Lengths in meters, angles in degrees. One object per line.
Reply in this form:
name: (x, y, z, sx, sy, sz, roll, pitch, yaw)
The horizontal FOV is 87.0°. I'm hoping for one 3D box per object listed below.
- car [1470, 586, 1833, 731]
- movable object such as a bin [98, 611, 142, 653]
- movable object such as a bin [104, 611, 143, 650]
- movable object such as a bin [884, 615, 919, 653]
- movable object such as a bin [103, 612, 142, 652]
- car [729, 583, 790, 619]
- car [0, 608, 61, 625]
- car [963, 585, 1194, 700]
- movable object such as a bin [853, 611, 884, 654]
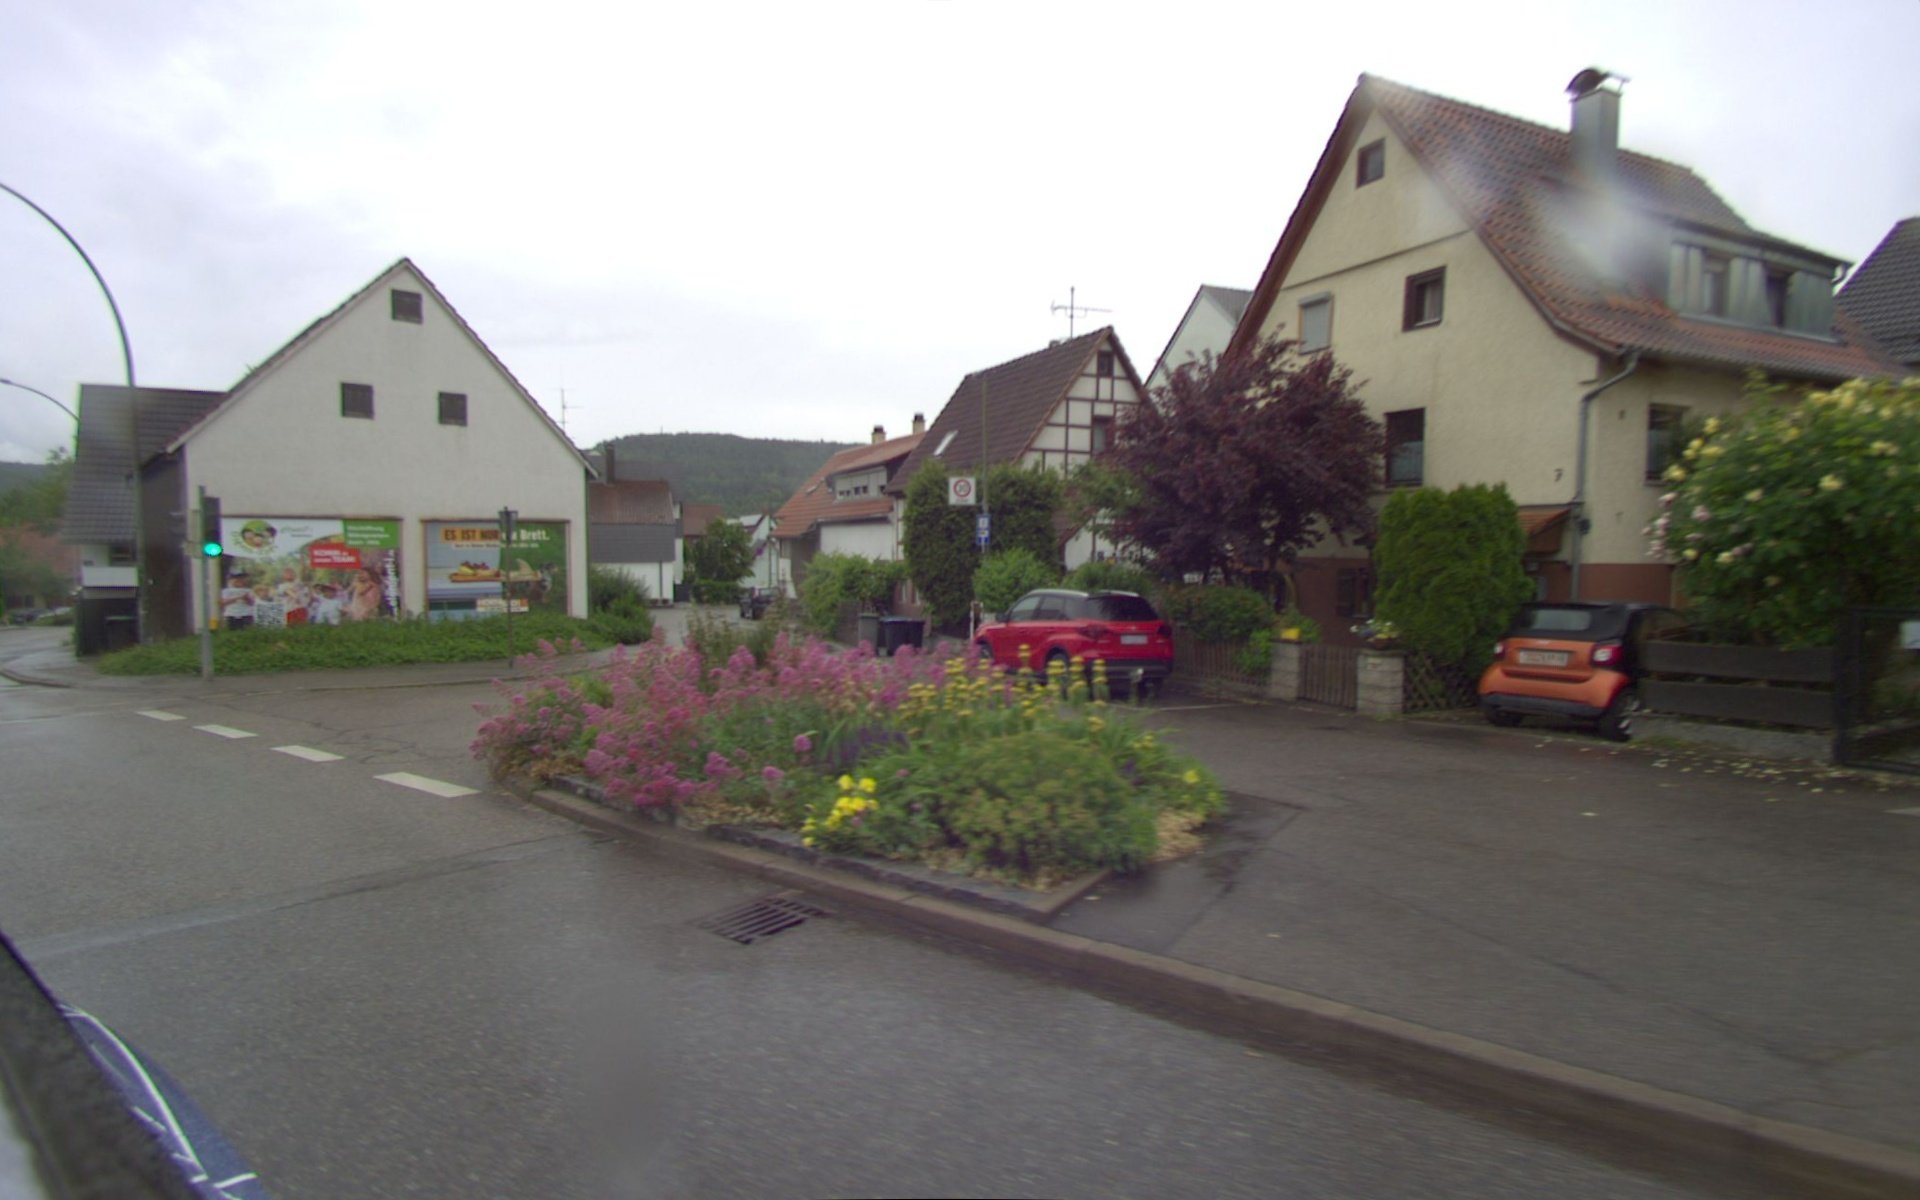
car: (8.212, 0.585, 12.002, 3.931, 1.394, 1.869, -2, 0, -27)
movable object such as a bin: (-23.421, 0.869, 28.229, 0.886, 1.086, 0.652, -4, 3, -41)
movable object such as a bin: (-24.223, 0.875, 29.290, 0.825, 1.066, 0.612, -3, 2, -41)
movable object such as a bin: (-1.482, 0.850, 25.546, 0.692, 0.894, 0.653, -1, 0, -22)
movable object such as a bin: (-23.770, 0.886, 28.724, 0.807, 1.069, 0.597, -3, 2, -41)
car: (-9.125, 0.051, 45.853, 1.700, 1.504, 3.982, -1, 0, -26)
car: (-84.884, 1.523, 92.430, 1.854, 1.386, 3.999, -1, 1, 1)
car: (1.719, 0.594, 16.124, 1.724, 1.574, 4.032, -1, 0, -26)
movable object such as a bin: (-2.291, 0.807, 25.282, 0.569, 1.053, 0.653, -1, 0, -22)
